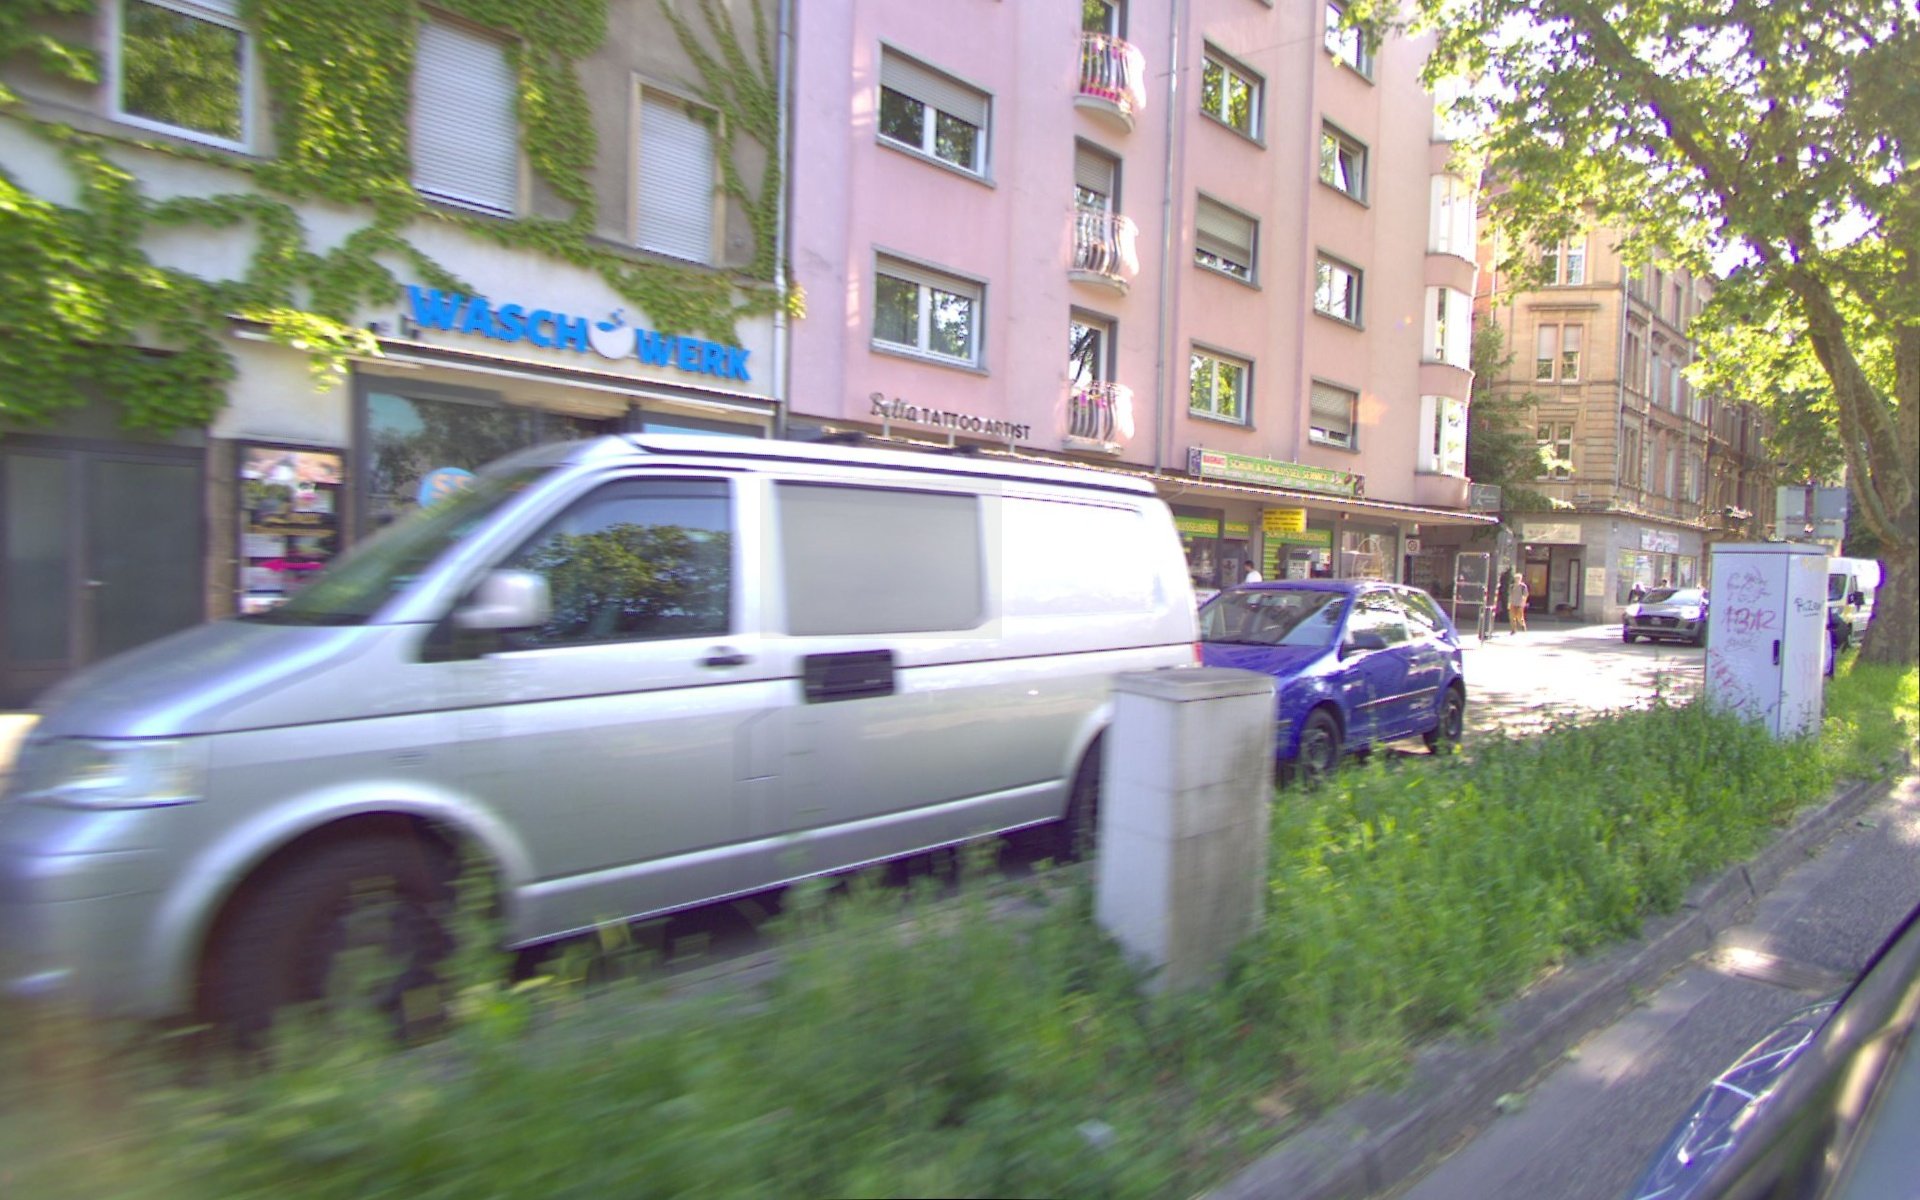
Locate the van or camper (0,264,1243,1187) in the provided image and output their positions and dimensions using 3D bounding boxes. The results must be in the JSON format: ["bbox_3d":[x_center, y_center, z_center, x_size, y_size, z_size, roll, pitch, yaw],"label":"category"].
[{"bbox_3d":[-0.953,0.229,4.561,5.007,2.038,1.887,0,3,-42],"label":"van or camper"}]

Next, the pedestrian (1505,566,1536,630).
[{"bbox_3d":[16.627,-0.065,30.020,0.620,1.838,0.613,0,2,-45],"label":"pedestrian"}]

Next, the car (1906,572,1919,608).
[{"bbox_3d":[49.875,-0.498,51.772,3.858,1.764,1.713,0,2,-41],"label":"car"}]

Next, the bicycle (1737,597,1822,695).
[{"bbox_3d":[11.011,0.589,13.581,1.718,1.229,0.466,0,2,-38],"label":"bicycle"}]

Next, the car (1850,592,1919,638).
[{"bbox_3d":[32.991,0.486,35.842,4.116,1.531,1.648,0,2,-41],"label":"car"}]

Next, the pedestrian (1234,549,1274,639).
[{"bbox_3d":[5.981,-0.132,20.575,0.571,1.775,0.418,0,4,-41],"label":"pedestrian"}]

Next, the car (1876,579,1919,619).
[{"bbox_3d":[37.697,-0.054,40.001,3.931,1.482,1.751,0,3,-42],"label":"car"}]

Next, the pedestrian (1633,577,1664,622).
[{"bbox_3d":[25.117,-0.032,36.920,0.718,1.585,0.738,0,2,-41],"label":"pedestrian"}]

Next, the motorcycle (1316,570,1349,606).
[{"bbox_3d":[15.409,-0.518,41.811,0.958,1.418,3.172,2,2,26],"label":"motorcycle"}]

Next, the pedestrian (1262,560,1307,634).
[{"bbox_3d":[6.724,-0.068,20.994,0.507,1.488,0.697,0,2,-41],"label":"pedestrian"}]

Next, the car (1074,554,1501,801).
[{"bbox_3d":[2.758,0.437,8.075,3.764,1.497,1.592,0,3,-43],"label":"car"}]

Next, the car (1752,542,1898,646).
[{"bbox_3d":[22.947,-0.195,26.759,5.754,2.464,2.078,0,2,-41],"label":"car"}]

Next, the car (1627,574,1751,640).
[{"bbox_3d":[19.681,0.148,27.256,4.065,1.621,1.814,0,2,-41],"label":"car"}]
